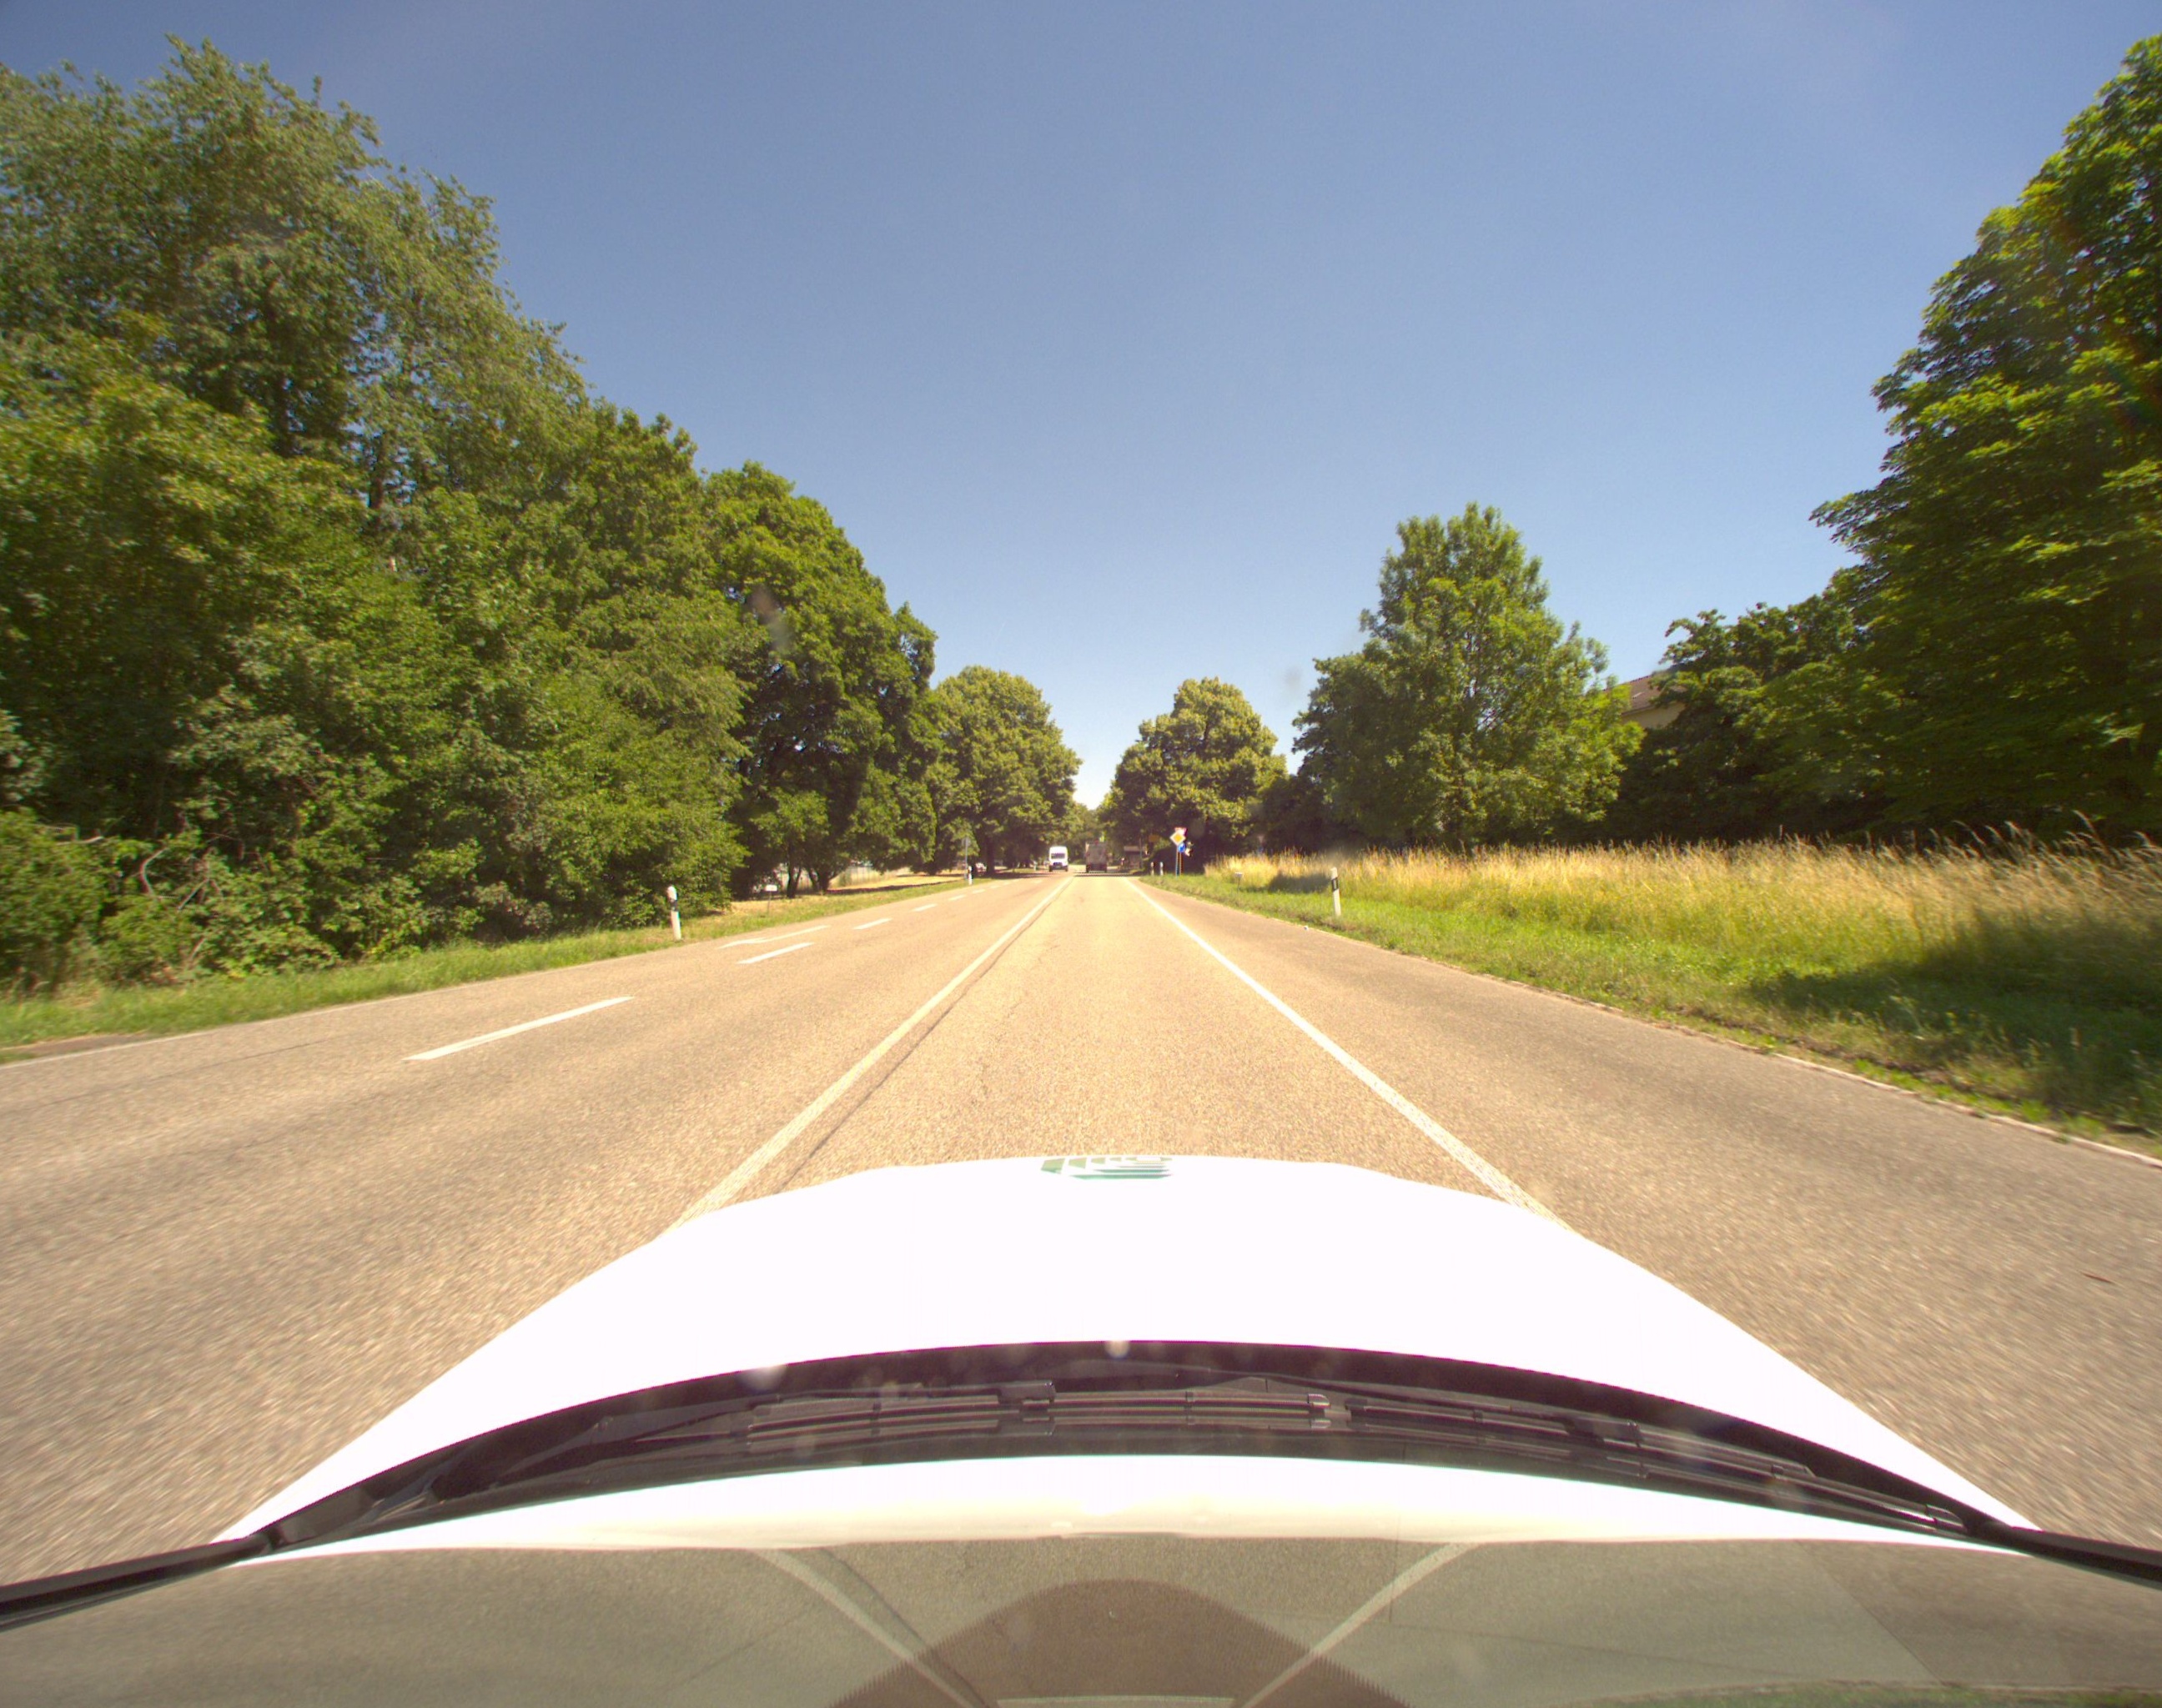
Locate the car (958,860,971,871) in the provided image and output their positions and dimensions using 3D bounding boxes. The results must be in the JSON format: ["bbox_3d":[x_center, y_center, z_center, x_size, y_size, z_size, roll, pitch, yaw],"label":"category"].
[{"bbox_3d":[-18.574,1.837,129.858,1.738,1.585,3.981,-1,0,-14],"label":"car"}]

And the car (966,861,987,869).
[{"bbox_3d":[-17.429,1.834,135.834,3.389,1.362,1.343,-2,-1,32],"label":"car"}]

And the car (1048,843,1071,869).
[{"bbox_3d":[-2.324,0.229,89.292,2.065,2.627,6.786,-1,-1,2],"label":"car"}]

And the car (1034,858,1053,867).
[{"bbox_3d":[-7.790,1.744,168.018,2.004,1.857,5.269,-1,-1,-26],"label":"car"}]

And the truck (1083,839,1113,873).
[{"bbox_3d":[1.708,0.130,79.026,2.522,3.135,5.369,-1,0,5],"label":"truck"}]
